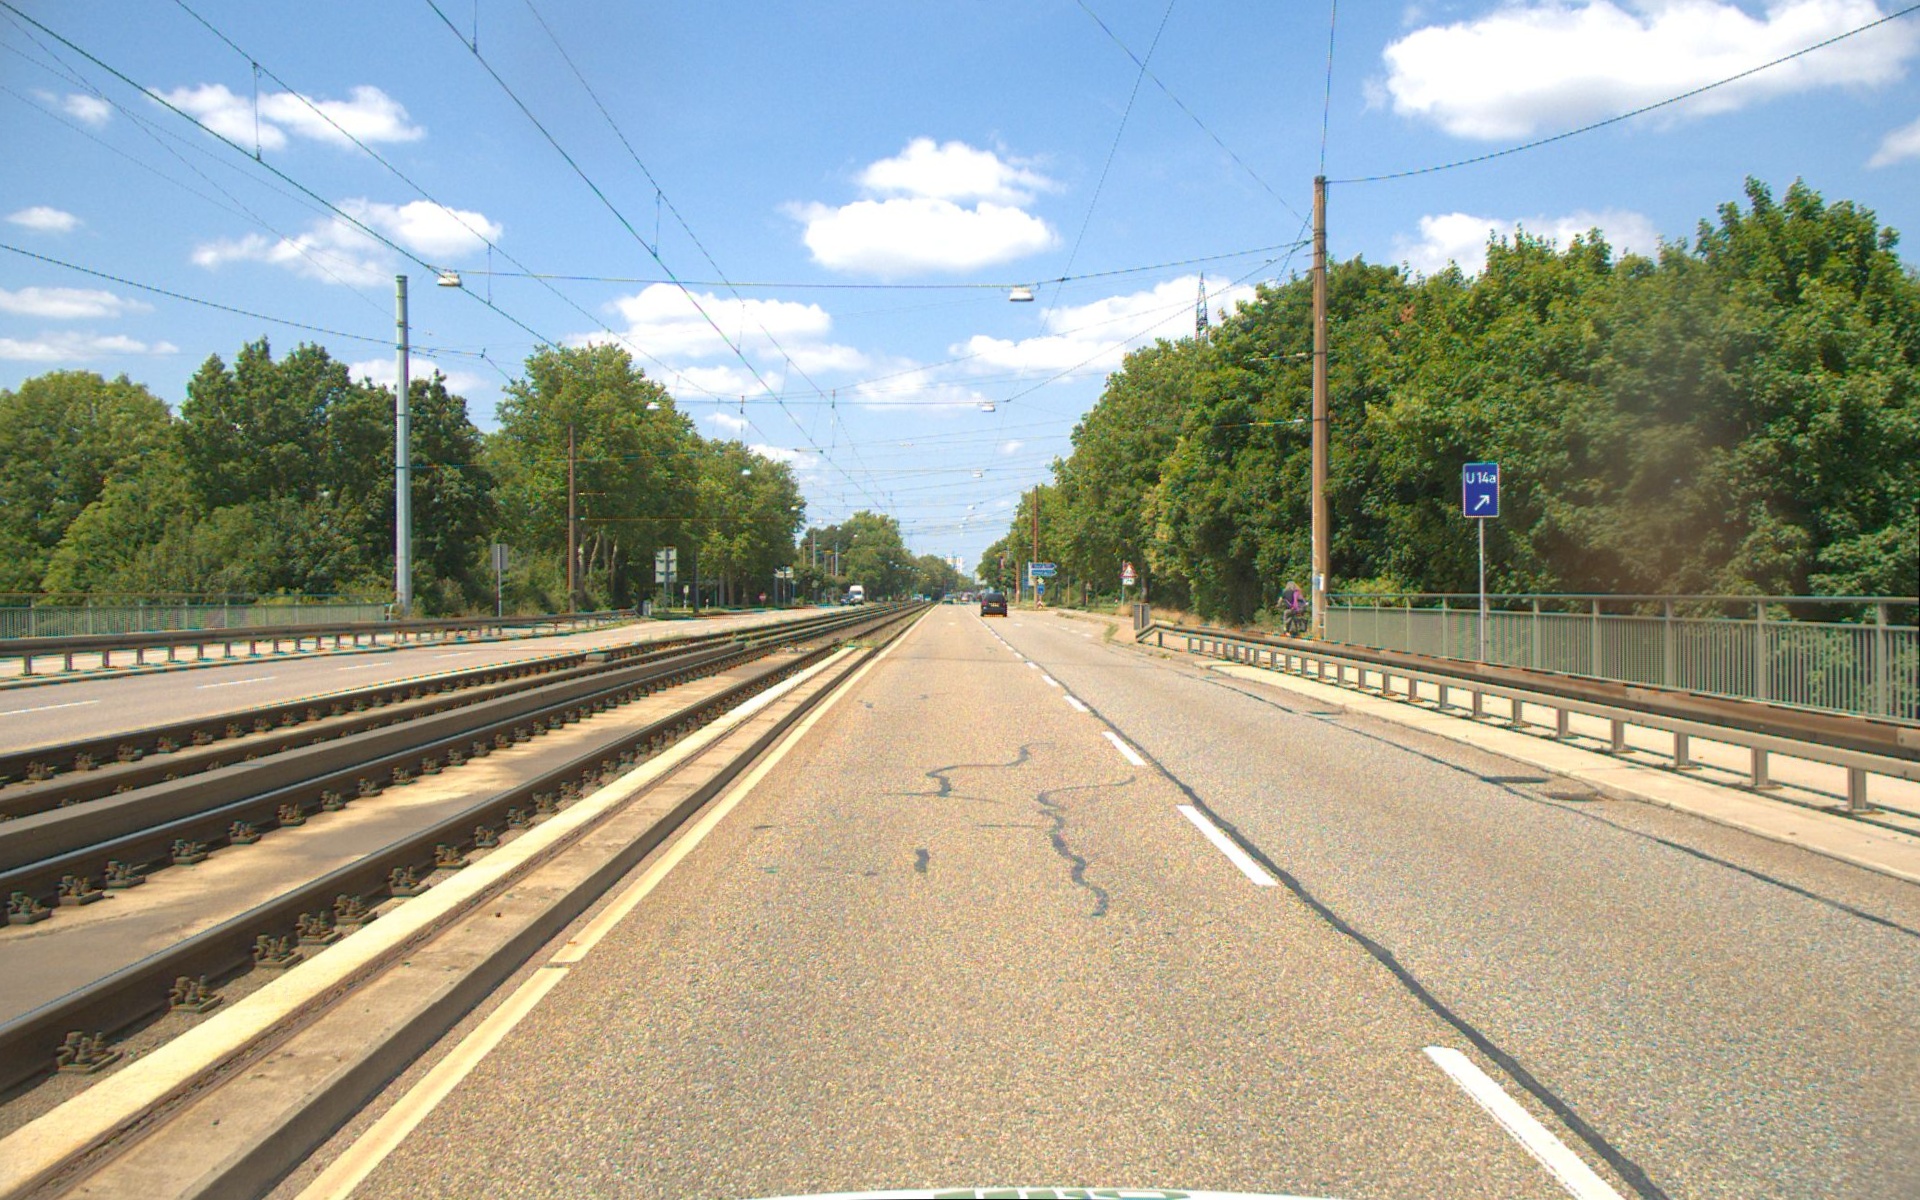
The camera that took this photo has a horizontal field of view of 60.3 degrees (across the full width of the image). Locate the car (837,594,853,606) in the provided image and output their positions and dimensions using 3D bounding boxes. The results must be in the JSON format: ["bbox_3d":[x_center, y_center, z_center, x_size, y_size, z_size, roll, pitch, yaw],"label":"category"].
[{"bbox_3d":[-14.764,0.003,212.506,1.780,1.541,4.427,-1,0,0],"label":"car"}]

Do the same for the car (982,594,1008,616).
[{"bbox_3d":[2.359,0.310,110.949,1.554,1.366,3.271,0,1,-2],"label":"car"}]

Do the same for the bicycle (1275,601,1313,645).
[{"bbox_3d":[8.193,0.557,40.621,0.548,1.042,1.848,0,0,0],"label":"bicycle"}]

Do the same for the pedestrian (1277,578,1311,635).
[{"bbox_3d":[8.200,0.154,40.666,0.615,1.398,1.050,0,0,0],"label":"pedestrian"}]
